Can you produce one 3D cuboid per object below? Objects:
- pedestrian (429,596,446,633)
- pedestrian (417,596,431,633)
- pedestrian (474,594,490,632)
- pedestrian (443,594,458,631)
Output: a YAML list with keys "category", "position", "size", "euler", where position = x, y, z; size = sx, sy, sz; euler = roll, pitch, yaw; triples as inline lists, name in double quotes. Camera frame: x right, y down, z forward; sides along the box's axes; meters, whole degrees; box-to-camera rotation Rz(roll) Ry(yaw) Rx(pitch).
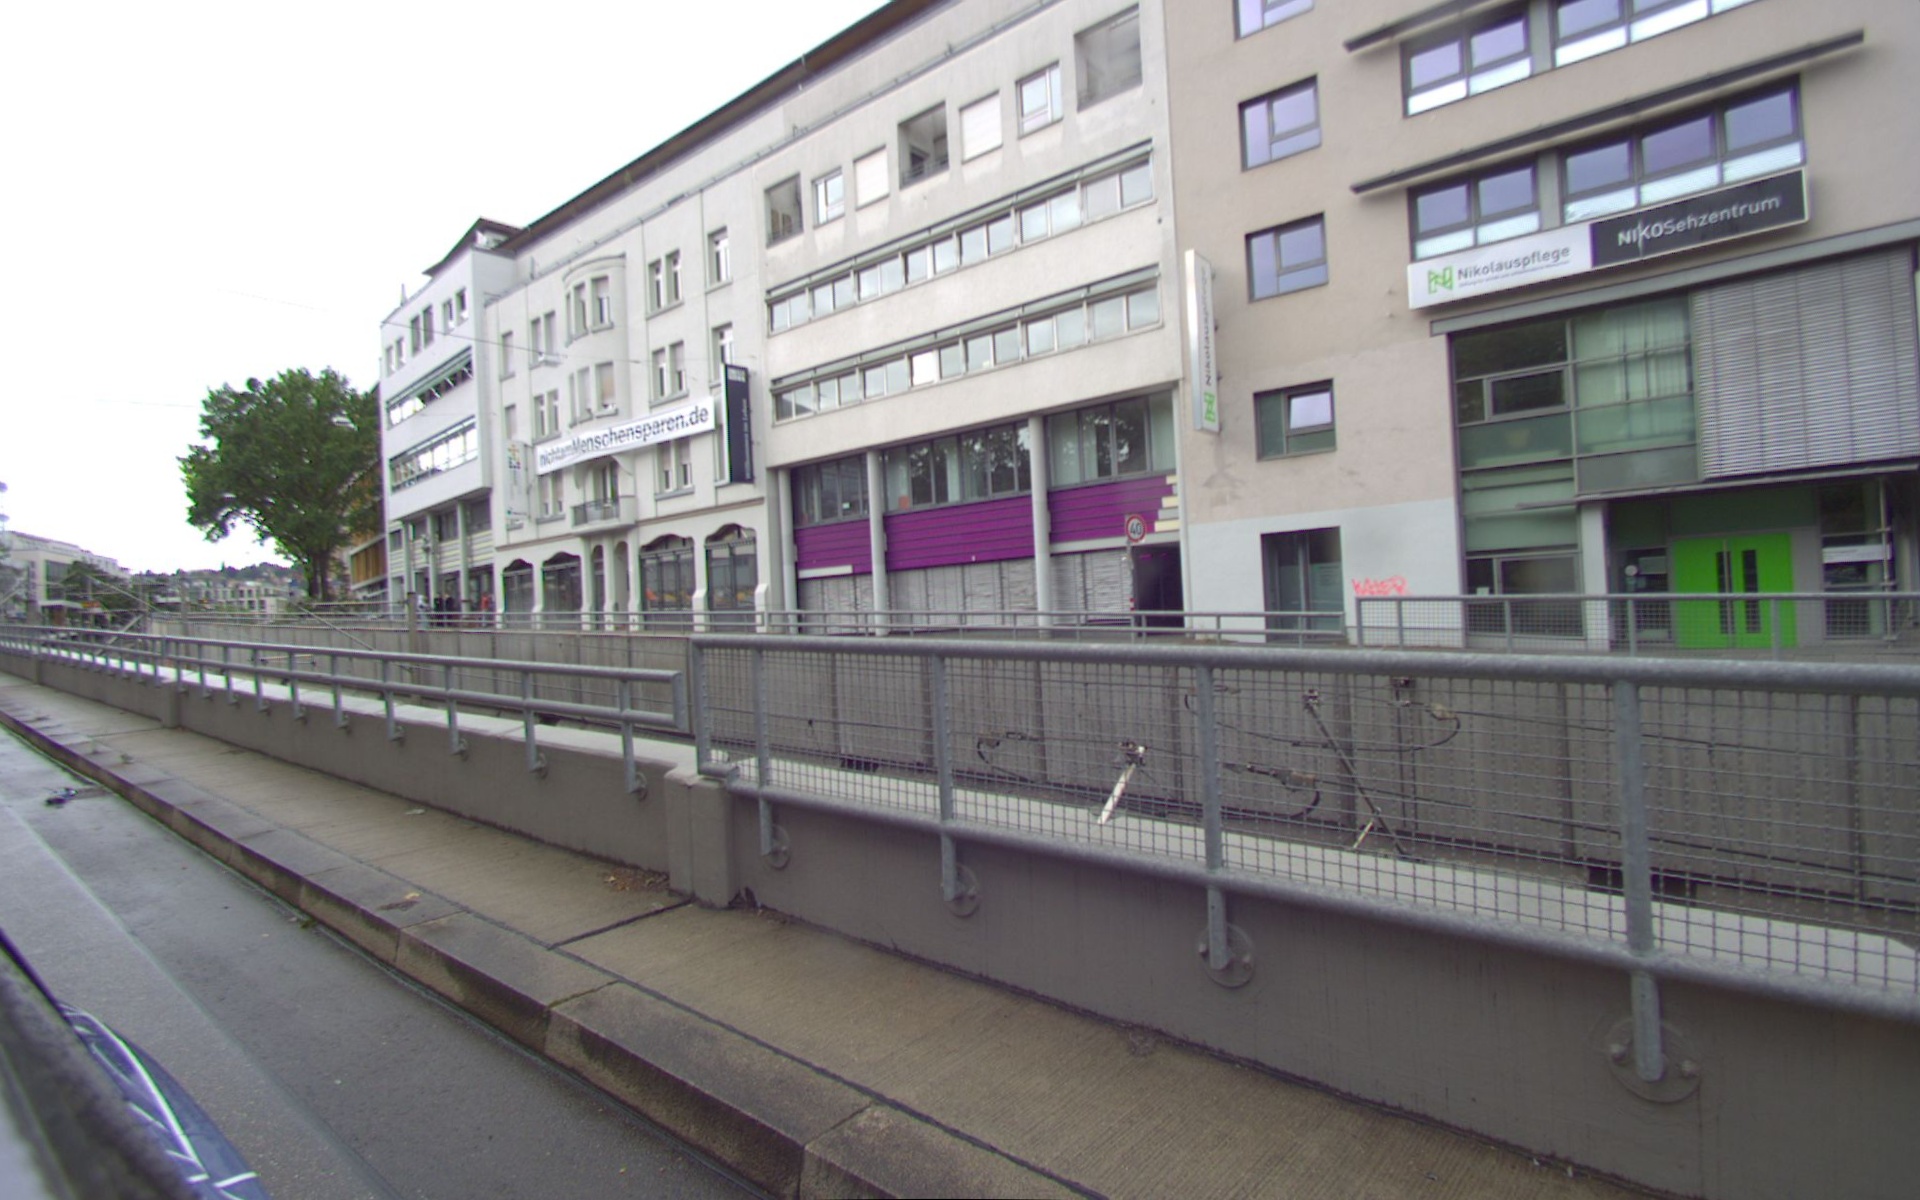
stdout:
- category: "pedestrian"
  position: [-26.436, 0.721, 51.224]
  size: [0.469, 1.816, 0.541]
  euler: [-2, 1, 33]
- category: "pedestrian"
  position: [-26.729, 0.722, 50.472]
  size: [0.463, 1.816, 0.548]
  euler: [-3, 1, -42]
- category: "pedestrian"
  position: [-23.030, 0.624, 48.754]
  size: [0.547, 1.816, 0.464]
  euler: [-1, 1, 40]
- category: "pedestrian"
  position: [-25.421, 0.621, 50.476]
  size: [0.547, 1.816, 0.463]
  euler: [-2, 1, 44]
